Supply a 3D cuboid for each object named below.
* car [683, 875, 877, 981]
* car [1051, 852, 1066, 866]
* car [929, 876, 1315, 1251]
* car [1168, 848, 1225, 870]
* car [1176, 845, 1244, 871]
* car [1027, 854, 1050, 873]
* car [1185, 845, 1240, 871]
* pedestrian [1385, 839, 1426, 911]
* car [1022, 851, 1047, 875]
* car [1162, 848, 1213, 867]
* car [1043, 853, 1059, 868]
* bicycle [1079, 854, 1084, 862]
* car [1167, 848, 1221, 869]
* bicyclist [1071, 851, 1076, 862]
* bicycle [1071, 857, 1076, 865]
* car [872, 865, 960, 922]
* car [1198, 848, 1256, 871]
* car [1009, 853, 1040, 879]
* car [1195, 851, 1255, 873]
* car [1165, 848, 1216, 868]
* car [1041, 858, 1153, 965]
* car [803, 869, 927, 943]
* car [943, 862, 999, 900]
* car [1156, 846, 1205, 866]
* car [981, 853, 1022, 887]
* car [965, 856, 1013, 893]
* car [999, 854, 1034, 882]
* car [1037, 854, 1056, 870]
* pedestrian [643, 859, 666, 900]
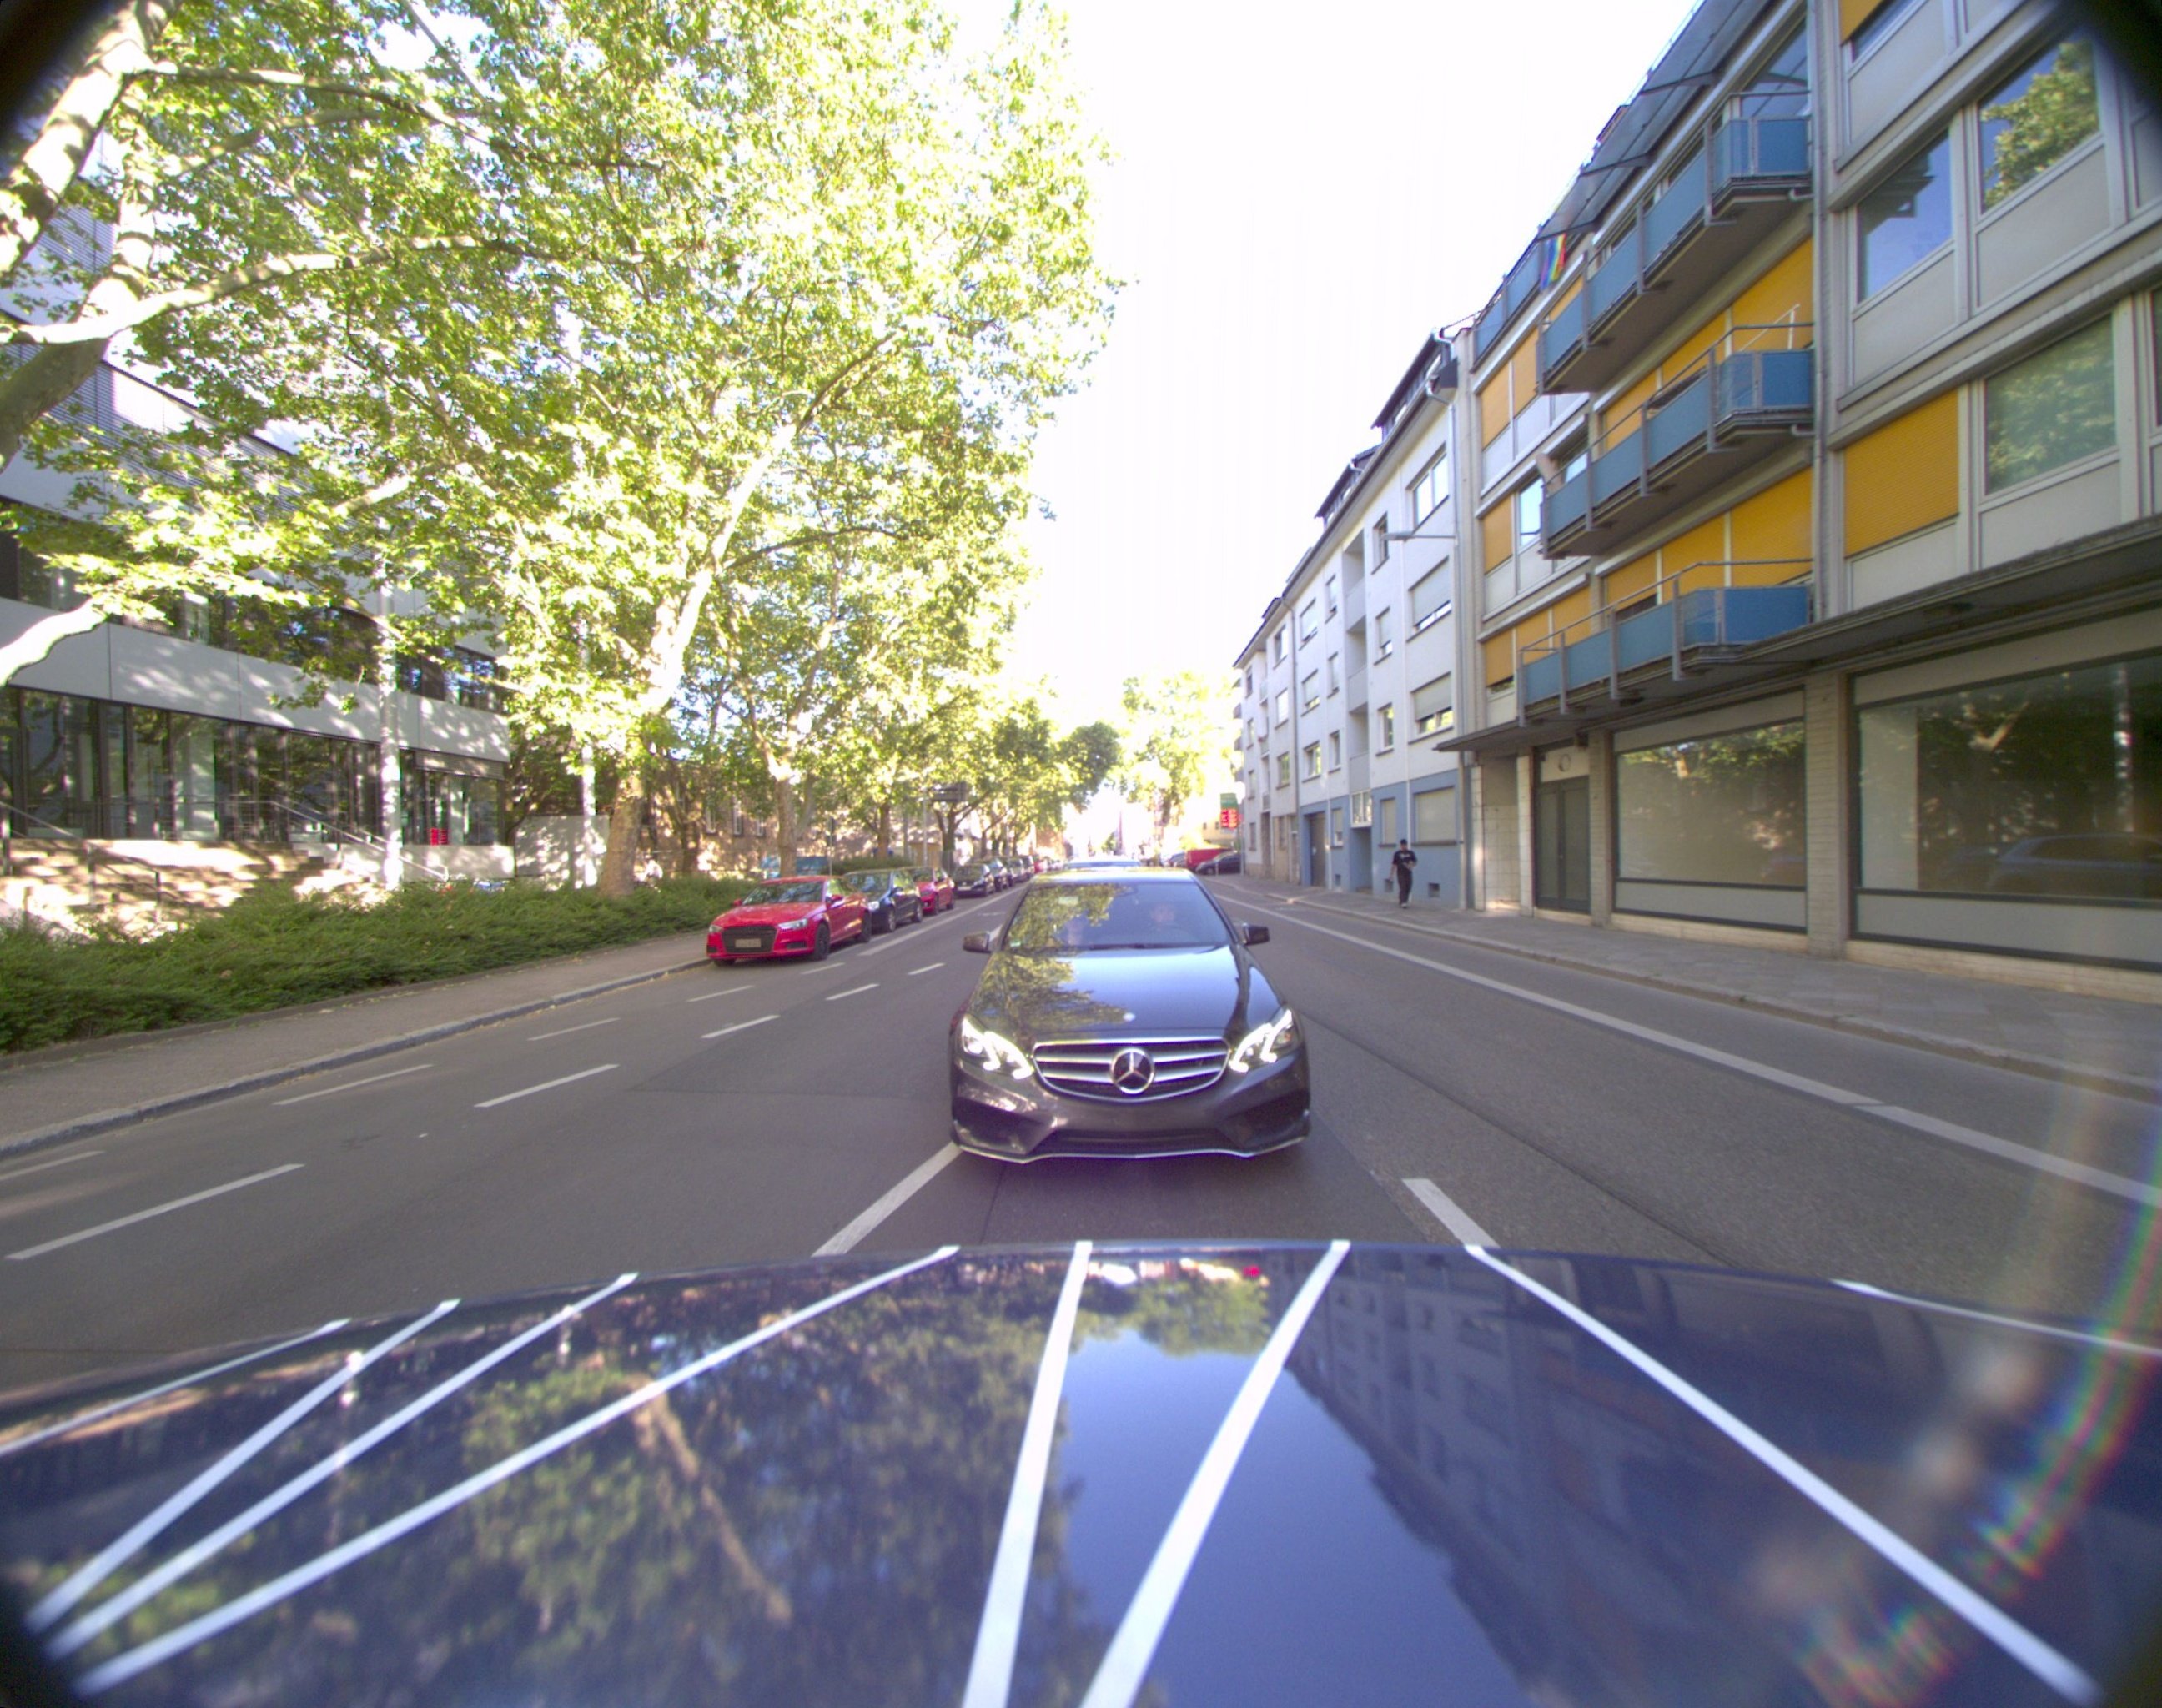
[{"bbox_3d":[-5.127,1.187,13.594,1.755,1.400,4.000,-3,0,1],"label":"car"},{"bbox_3d":[-3.014,0.660,103.200,1.755,1.652,4.447,-3,0,1],"label":"car"},{"bbox_3d":[0.210,0.987,5.354,1.667,1.499,4.000,-1,0,1],"label":"car"},{"bbox_3d":[11.099,0.451,73.518,5.143,1.926,2.187,-2,0,1],"label":"car"},{"bbox_3d":[10.636,0.301,63.102,5.223,1.969,2.257,-2,0,1],"label":"car"},{"bbox_3d":[-4.003,0.912,72.172,1.755,1.652,4.447,-3,0,1],"label":"car"},{"bbox_3d":[10.331,0.307,60.077,3.997,1.926,1.867,-2,0,1],"label":"car"},{"bbox_3d":[8.149,0.515,19.110,0.663,1.761,0.793,-2,1,4],"label":"pedestrian"},{"bbox_3d":[-3.997,0.737,66.386,1.755,1.941,4.447,-3,0,1],"label":"car"},{"bbox_3d":[11.322,0.356,81.182,5.042,1.926,2.315,-2,0,1],"label":"car"},{"bbox_3d":[-3.647,0.783,93.002,1.755,1.652,4.447,-3,0,1],"label":"car"},{"bbox_3d":[0.086,0.526,99.832,0.574,1.053,1.595,-2,0,1],"label":"bicycle"},{"bbox_3d":[11.272,0.412,76.218,5.054,1.926,2.161,-2,0,1],"label":"car"},{"bbox_3d":[-1.002,0.315,99.876,0.650,1.427,0.741,-2,1,1],"label":"bicyclist"},{"bbox_3d":[-0.991,0.907,99.833,0.650,1.053,1.595,-2,0,1],"label":"bicycle"},{"bbox_3d":[-5.036,1.152,23.653,1.755,1.459,3.909,-3,0,1],"label":"car"},{"bbox_3d":[10.912,0.398,56.988,3.997,1.552,1.743,-2,0,1],"label":"car"},{"bbox_3d":[-4.103,0.830,55.753,1.755,1.753,4.447,-3,0,1],"label":"car"},{"bbox_3d":[10.356,0.569,54.778,3.997,1.412,1.743,-2,0,1],"label":"car"},{"bbox_3d":[11.287,0.381,78.716,4.991,1.926,2.083,-2,0,1],"label":"car"},{"bbox_3d":[0.269,0.891,13.607,1.667,1.563,4.000,-1,0,1],"label":"car"},{"bbox_3d":[-5.087,1.178,18.440,1.755,1.424,3.909,-3,0,1],"label":"car"},{"bbox_3d":[-4.751,1.124,33.291,1.755,1.424,3.909,-3,0,1],"label":"car"},{"bbox_3d":[11.190,0.210,85.518,5.143,2.135,2.187,-2,0,1],"label":"car"},{"bbox_3d":[-4.554,0.878,44.059,1.755,1.810,4.447,-3,0,1],"label":"car"},{"bbox_3d":[-4.564,0.982,38.261,1.755,1.644,4.174,-3,0,1],"label":"car"},{"bbox_3d":[-4.273,0.887,50.942,1.755,1.718,4.447,-3,0,1],"label":"car"},{"bbox_3d":[-3.776,0.879,83.512,1.755,1.652,4.447,-3,0,1],"label":"car"},{"bbox_3d":[-17.772,1.051,31.676,0.525,1.660,0.661,-2,1,2],"label":"pedestrian"}]
